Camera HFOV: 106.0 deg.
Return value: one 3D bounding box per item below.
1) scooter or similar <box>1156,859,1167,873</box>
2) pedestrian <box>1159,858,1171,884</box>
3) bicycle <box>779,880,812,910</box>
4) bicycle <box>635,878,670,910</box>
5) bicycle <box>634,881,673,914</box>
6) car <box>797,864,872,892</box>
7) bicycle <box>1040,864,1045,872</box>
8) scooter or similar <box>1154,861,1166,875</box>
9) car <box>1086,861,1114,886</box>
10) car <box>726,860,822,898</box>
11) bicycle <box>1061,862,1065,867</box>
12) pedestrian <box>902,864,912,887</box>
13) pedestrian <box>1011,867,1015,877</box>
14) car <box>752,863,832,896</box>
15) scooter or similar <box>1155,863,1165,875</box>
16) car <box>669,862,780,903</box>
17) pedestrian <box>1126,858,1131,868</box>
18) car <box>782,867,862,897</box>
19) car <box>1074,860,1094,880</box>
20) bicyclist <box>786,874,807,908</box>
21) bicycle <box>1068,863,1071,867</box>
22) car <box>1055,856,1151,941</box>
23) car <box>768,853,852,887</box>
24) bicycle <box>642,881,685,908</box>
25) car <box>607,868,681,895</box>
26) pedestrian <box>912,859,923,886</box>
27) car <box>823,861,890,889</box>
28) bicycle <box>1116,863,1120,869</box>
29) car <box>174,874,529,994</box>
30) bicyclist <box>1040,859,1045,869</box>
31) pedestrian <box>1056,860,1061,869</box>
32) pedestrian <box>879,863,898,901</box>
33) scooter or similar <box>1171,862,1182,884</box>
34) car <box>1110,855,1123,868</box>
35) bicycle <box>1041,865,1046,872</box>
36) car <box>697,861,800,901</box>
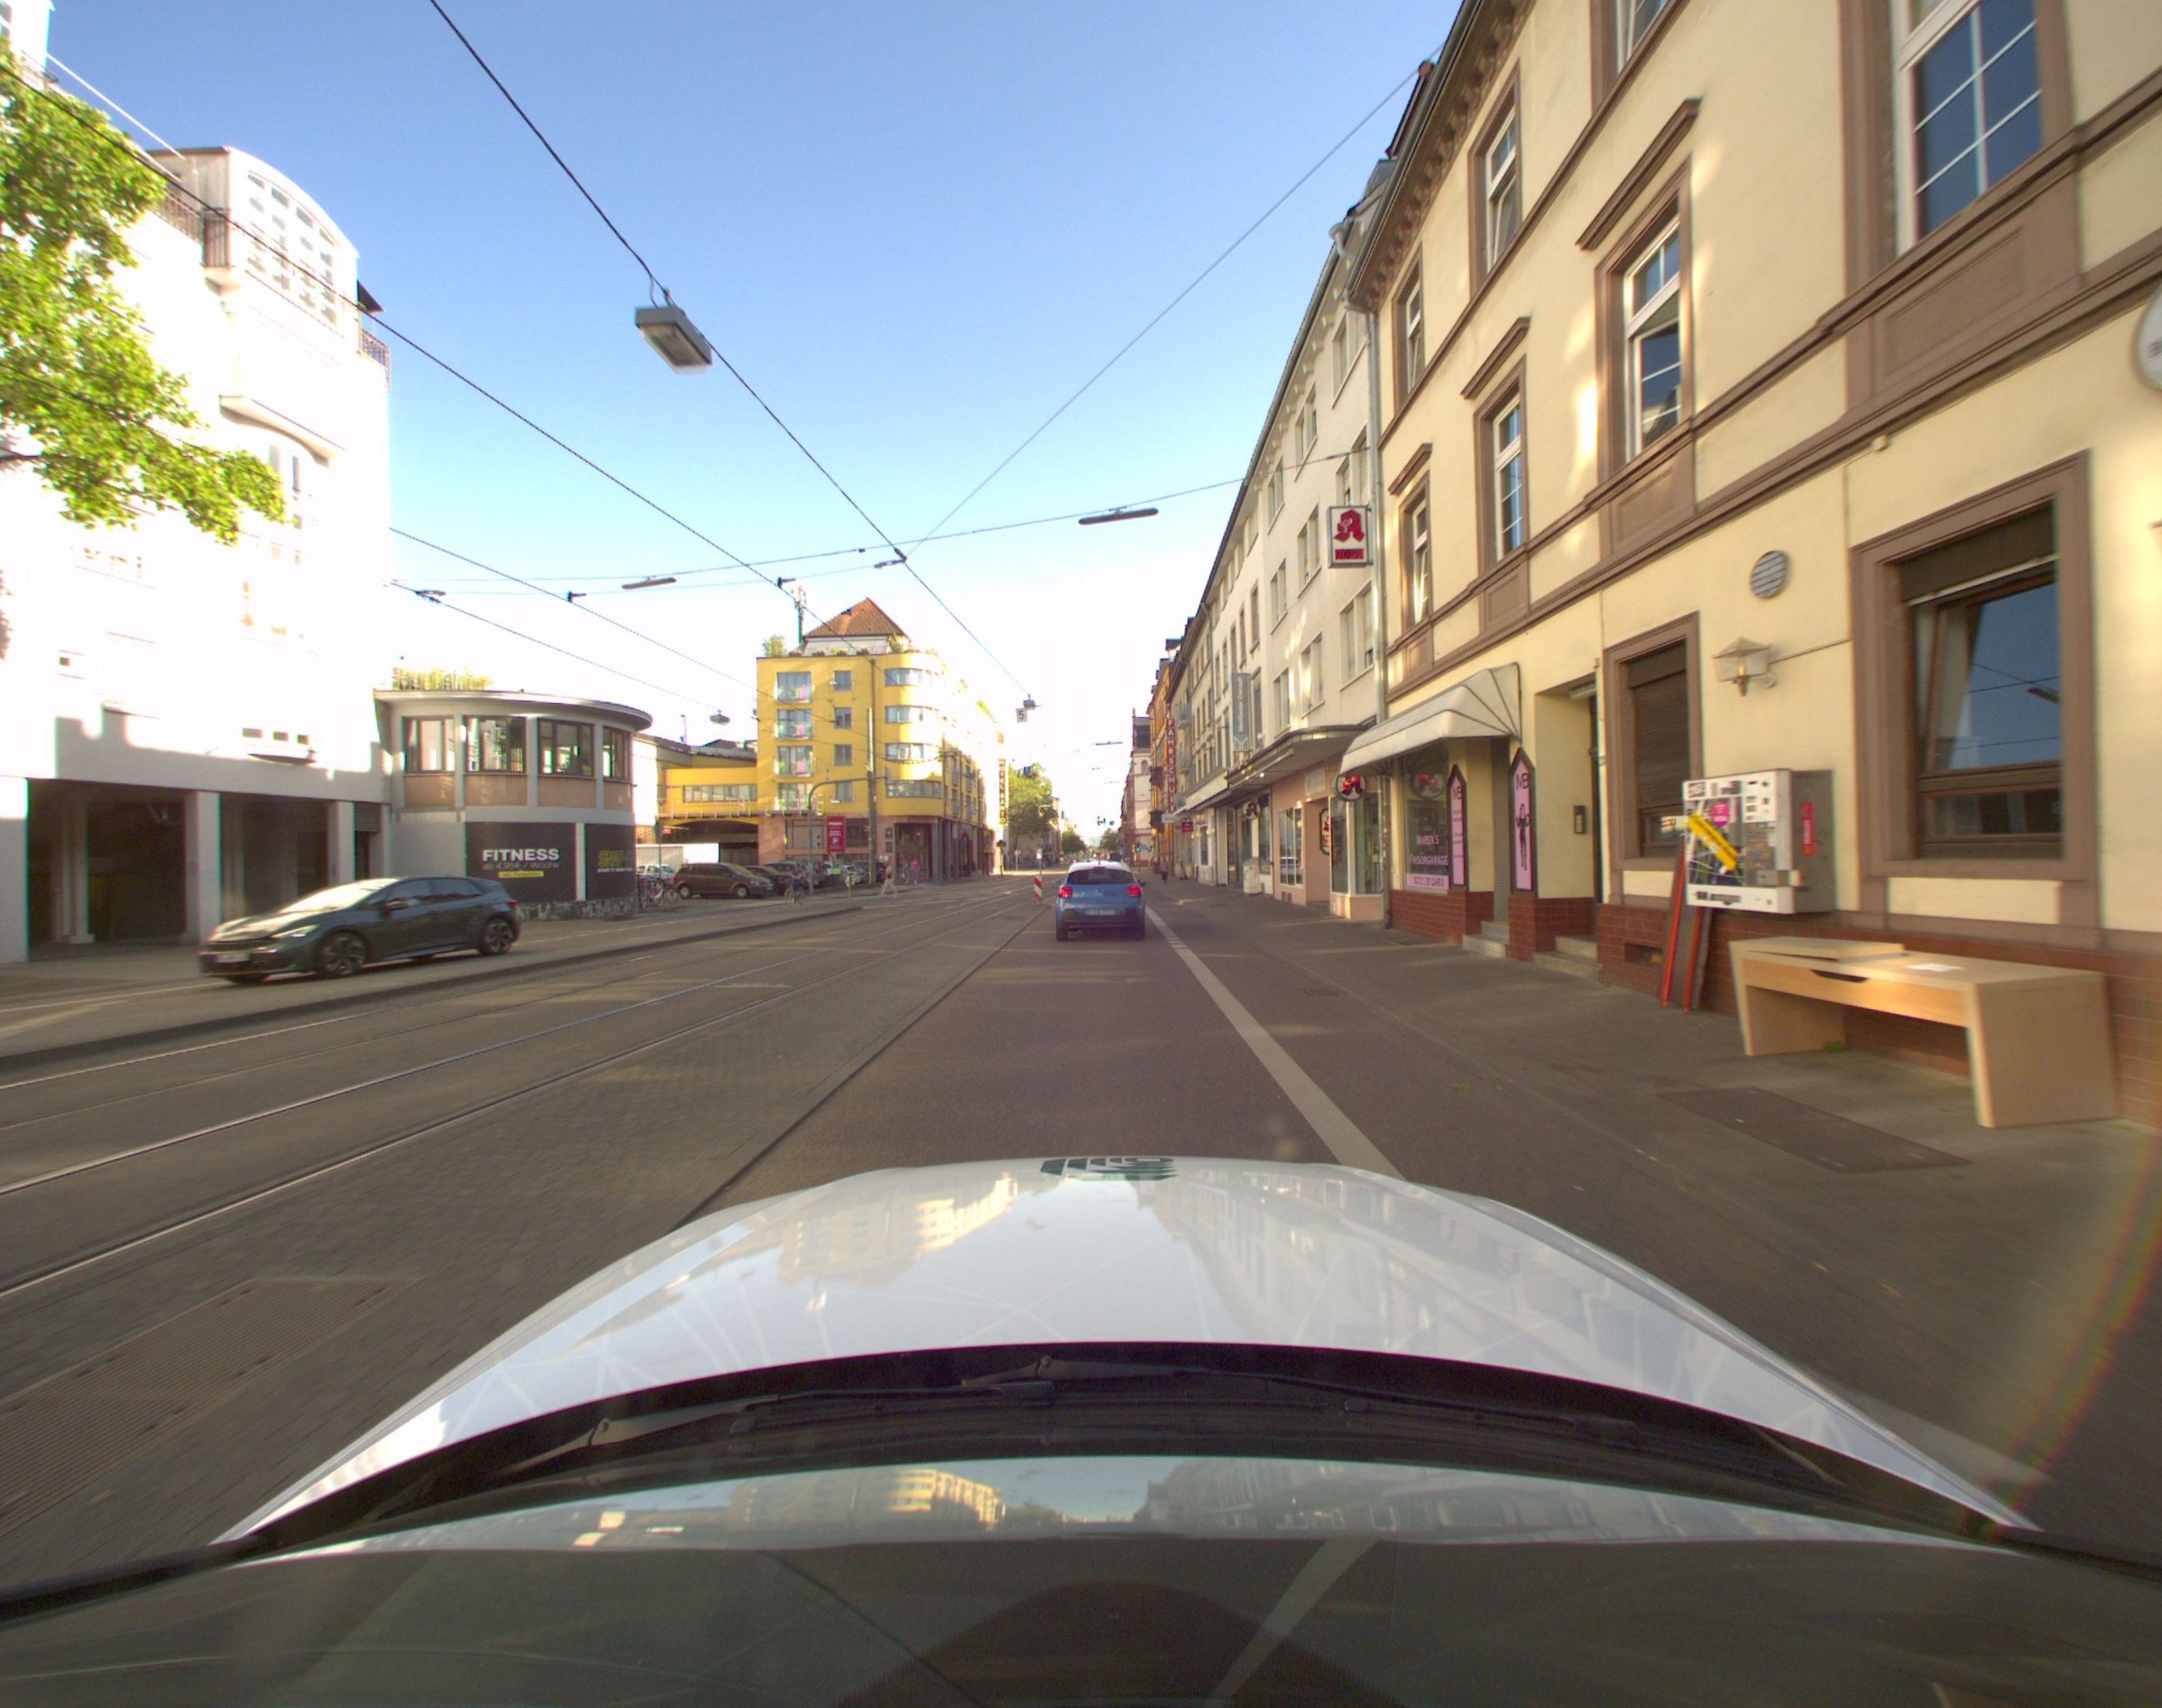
[{"bbox_3d":[6.980,1.062,70.995,0.788,1.148,0.790,-5,-1,-1],"label":"scooter or similar"},{"bbox_3d":[5.110,1.003,49.682,0.646,1.560,0.781,-1,-1,0],"label":"pedestrian"},{"bbox_3d":[-11.502,1.634,32.901,0.561,1.123,2.005,-1,0,2],"label":"bicycle"},{"bbox_3d":[-15.824,1.456,30.105,0.462,1.080,1.875,-1,0,-6],"label":"bicycle"},{"bbox_3d":[-14.924,1.498,28.459,0.523,1.036,1.875,-1,0,-6],"label":"bicycle"},{"bbox_3d":[-15.814,1.554,52.375,4.218,1.548,1.785,-2,-3,1],"label":"car"},{"bbox_3d":[-5.838,2.108,123.614,0.728,1.088,2.061,-1,-1,0],"label":"bicycle"},{"bbox_3d":[7.041,1.268,72.433,0.930,1.148,0.650,-5,-1,-1],"label":"scooter or similar"},{"bbox_3d":[1.168,1.234,52.053,1.661,1.478,3.999,-2,0,0],"label":"car"},{"bbox_3d":[-15.783,1.259,42.024,4.218,1.812,1.785,-1,-1,1],"label":"car"},{"bbox_3d":[-5.489,3.184,245.569,1.118,1.319,3.638,-2,0,-4],"label":"bicycle"},{"bbox_3d":[-12.666,1.551,59.414,0.570,1.617,0.499,-1,-1,0],"label":"pedestrian"},{"bbox_3d":[-10.718,2.799,127.933,0.541,1.552,0.516,-2,-1,-1],"label":"pedestrian"},{"bbox_3d":[-15.816,1.375,44.644,3.676,1.672,1.786,-1,-1,1],"label":"car"},{"bbox_3d":[6.954,1.327,71.772,0.788,0.957,0.680,-5,-1,-1],"label":"scooter or similar"},{"bbox_3d":[-16.097,1.268,36.919,4.218,1.763,1.785,0,-1,1],"label":"car"},{"bbox_3d":[8.050,1.508,137.437,0.703,1.783,0.672,1,-3,-1],"label":"pedestrian"},{"bbox_3d":[-15.747,1.707,49.644,4.218,1.610,1.785,-2,-3,1],"label":"car"},{"bbox_3d":[0.353,1.636,84.896,1.987,2.014,4.000,-2,0,0],"label":"car"},{"bbox_3d":[-11.526,1.498,33.007,0.560,1.361,0.719,-1,-1,2],"label":"bicyclist"},{"bbox_3d":[-2.765,2.641,197.701,0.690,1.120,2.084,-1,0,0],"label":"bicycle"},{"bbox_3d":[0.470,0.814,16.740,1.667,1.477,4.002,-3,0,2],"label":"car"},{"bbox_3d":[-15.657,0.944,47.137,4.218,1.812,1.785,-2,-3,1],"label":"car"},{"bbox_3d":[-16.272,1.588,31.750,1.856,1.036,0.428,-2,-1,26],"label":"bicycle"},{"bbox_3d":[-26.833,1.659,50.123,3.568,1.479,1.695,-1,2,-1],"label":"car"},{"bbox_3d":[-11.960,1.352,59.490,0.635,1.946,0.709,-1,-1,0],"label":"pedestrian"},{"bbox_3d":[-15.820,1.468,57.498,4.218,1.812,1.785,-1,-1,1],"label":"car"},{"bbox_3d":[6.108,2.012,133.319,0.430,0.947,1.760,-1,-1,-6],"label":"bicycle"},{"bbox_3d":[-11.810,1.198,13.674,1.770,1.540,4.276,-2,0,7],"label":"car"},{"bbox_3d":[-5.843,1.513,123.597,0.722,1.381,1.227,0,0,0],"label":"bicyclist"},{"bbox_3d":[-4.581,2.181,166.856,0.678,1.765,1.029,-1,-1,12],"label":"pedestrian"},{"bbox_3d":[-9.183,1.339,38.878,0.712,1.764,0.778,-1,-1,-6],"label":"pedestrian"},{"bbox_3d":[5.769,1.154,48.999,0.407,1.281,1.289,-1,-1,17],"label":"scooter or similar"},{"bbox_3d":[6.711,1.378,153.822,2.263,2.437,5.721,-1,-1,1],"label":"car"},{"bbox_3d":[-5.992,2.283,129.320,0.728,1.065,2.061,-1,-1,0],"label":"bicycle"},{"bbox_3d":[-15.982,1.286,39.291,4.218,1.812,1.785,-1,-1,1],"label":"car"}]
